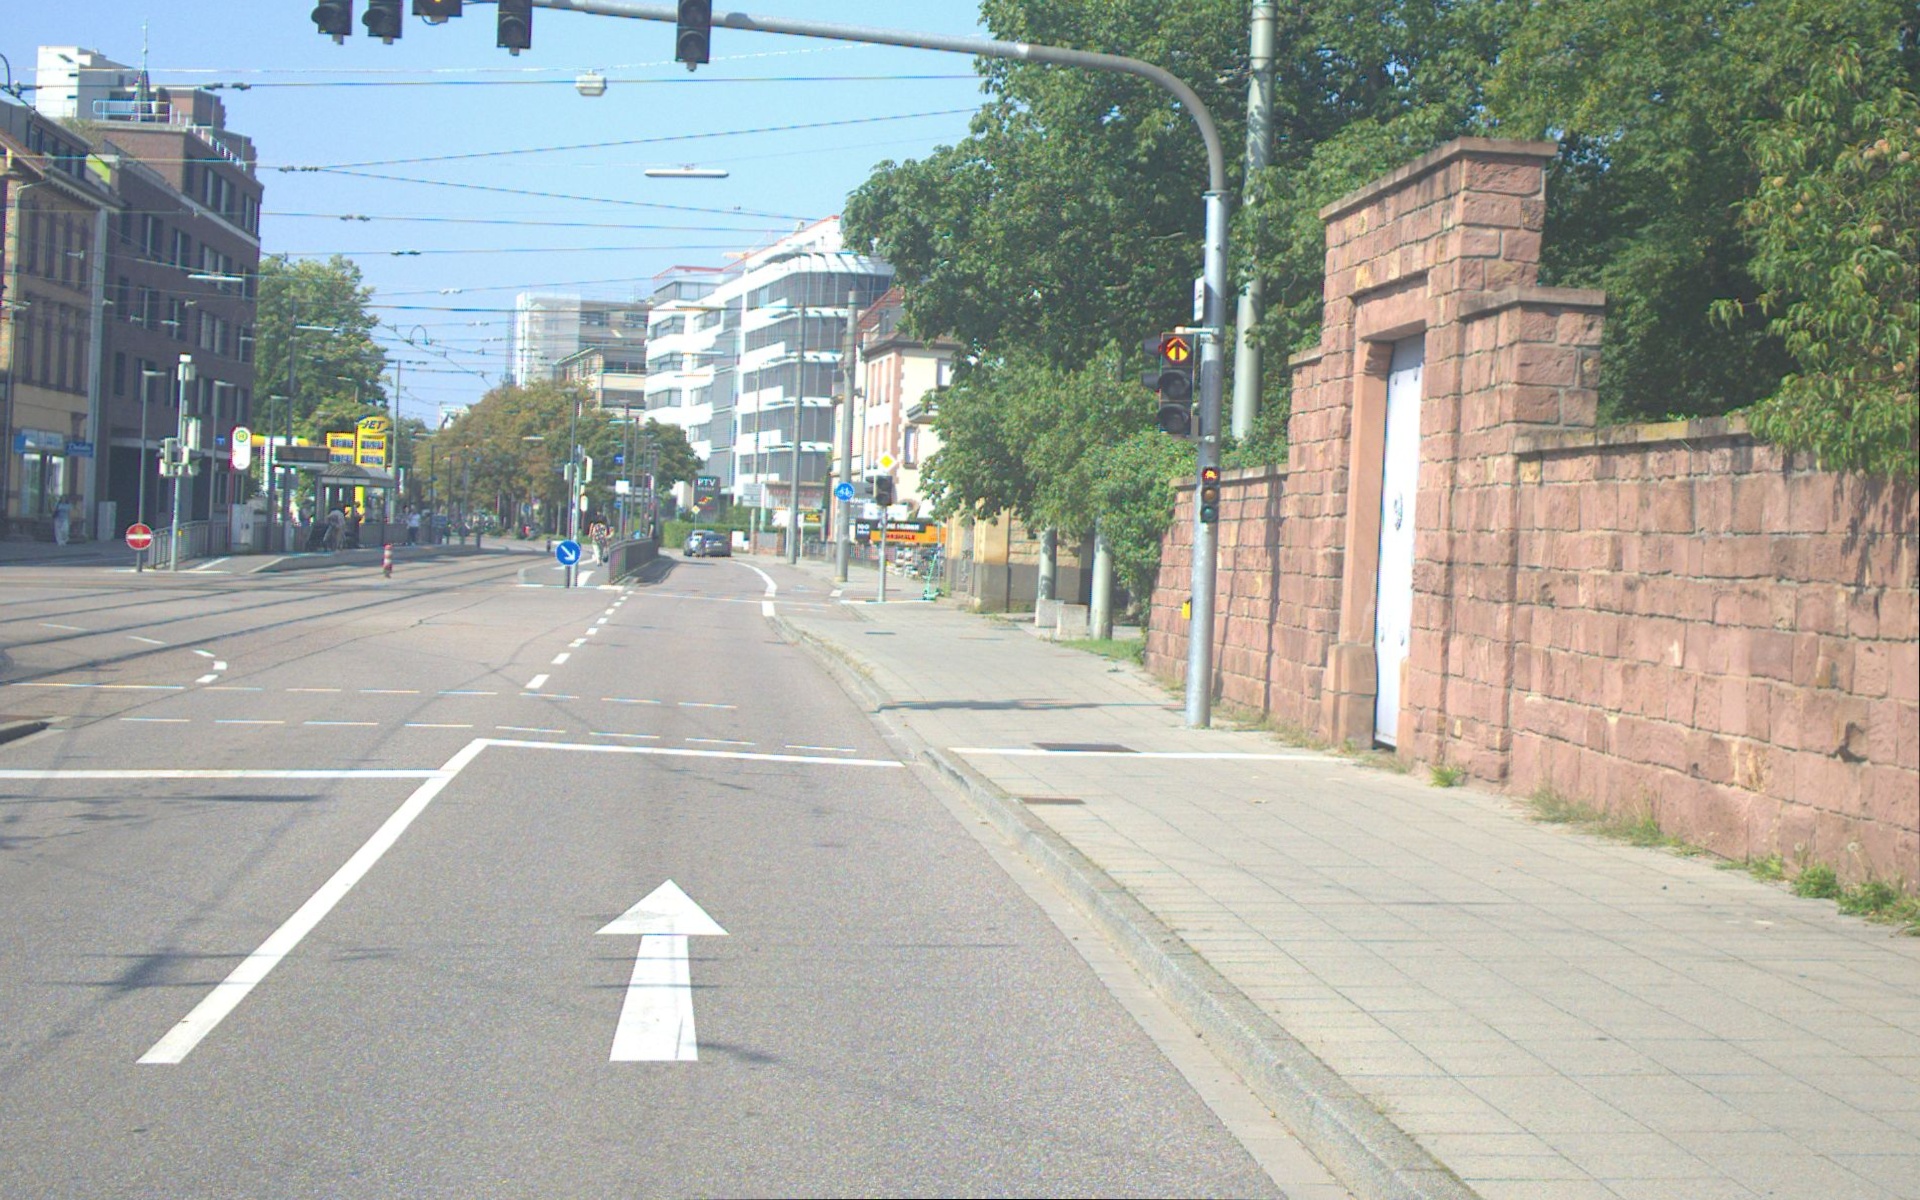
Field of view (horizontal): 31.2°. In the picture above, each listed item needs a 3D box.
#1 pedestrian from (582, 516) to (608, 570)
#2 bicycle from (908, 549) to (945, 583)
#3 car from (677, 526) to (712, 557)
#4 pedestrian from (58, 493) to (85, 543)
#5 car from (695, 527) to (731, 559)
[{"bbox_3d":[-11.438,-1.784,107.737,0.720,1.697,0.884,1,1,-3],"label":"pedestrian"},{"bbox_3d":[-1.130,-1.147,115.070,0.731,1.129,2.841,-1,1,-11],"label":"bicycle"},{"bbox_3d":[-16.215,-3.547,209.913,2.011,1.852,4.001,1,1,-3],"label":"car"},{"bbox_3d":[-29.241,-2.697,113.170,0.483,1.554,0.887,4,0,7],"label":"pedestrian"},{"bbox_3d":[-14.634,-3.358,203.836,2.011,1.852,4.001,1,1,-3],"label":"car"}]
